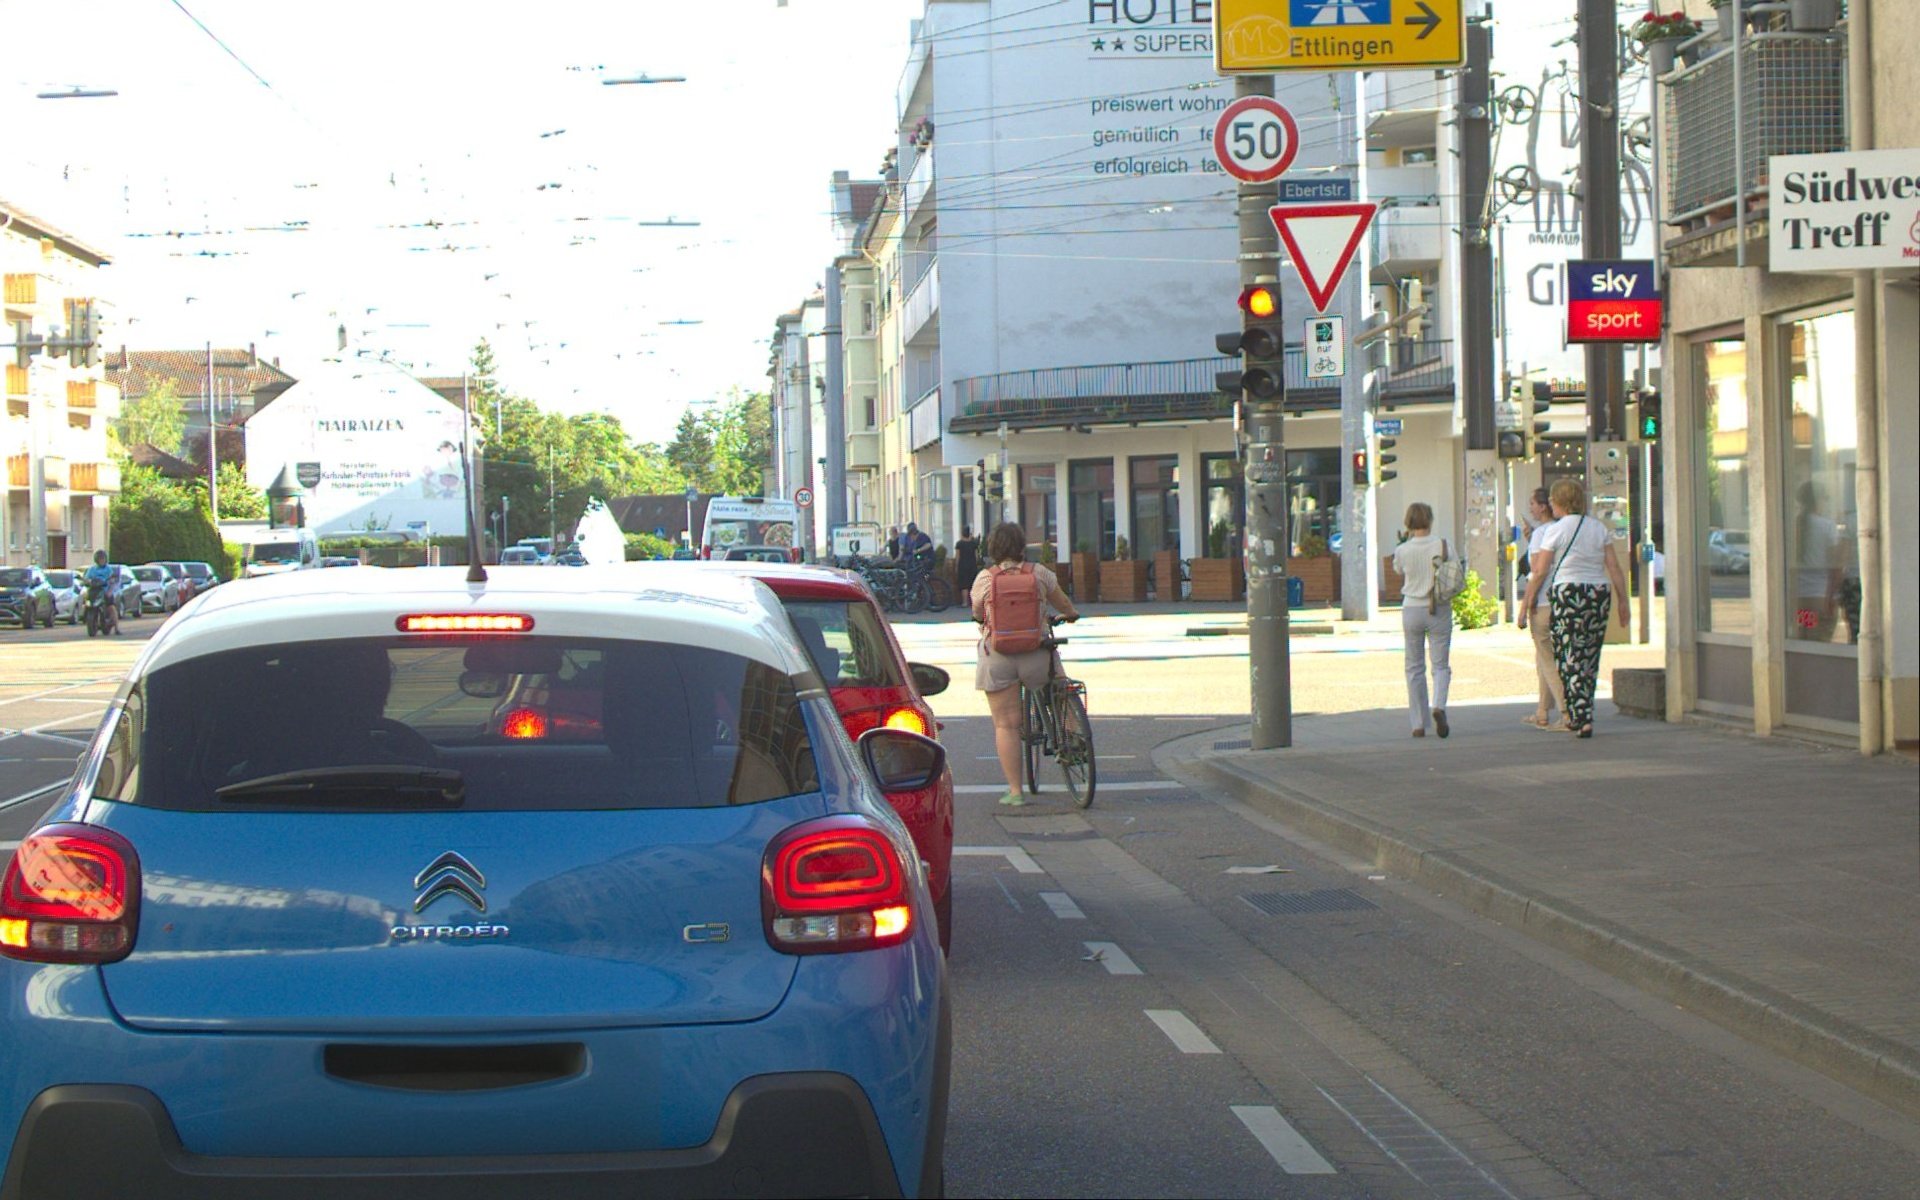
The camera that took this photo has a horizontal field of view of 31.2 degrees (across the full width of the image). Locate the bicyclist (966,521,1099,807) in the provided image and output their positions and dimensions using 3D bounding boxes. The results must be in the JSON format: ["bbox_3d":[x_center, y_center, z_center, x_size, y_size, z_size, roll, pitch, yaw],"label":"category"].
[{"bbox_3d":[0.418,0.363,20.289,0.726,1.640,0.790,-1,1,-1],"label":"bicyclist"}]

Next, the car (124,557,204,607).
[{"bbox_3d":[-25.693,-0.595,111.076,1.910,1.492,4.001,-1,1,-5],"label":"car"}]

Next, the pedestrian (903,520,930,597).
[{"bbox_3d":[-0.888,-0.845,69.723,0.491,1.550,0.384,-1,1,-3],"label":"pedestrian"}]

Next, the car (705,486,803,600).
[{"bbox_3d":[-4.358,-1.192,72.431,1.993,2.317,4.001,0,1,-4],"label":"car"}]

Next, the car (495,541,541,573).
[{"bbox_3d":[-21.752,-2.117,169.402,2.021,1.520,4.001,-1,1,-4],"label":"car"}]

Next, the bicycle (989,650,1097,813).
[{"bbox_3d":[0.483,0.766,20.598,0.498,0.861,1.749,-1,1,-3],"label":"bicycle"}]

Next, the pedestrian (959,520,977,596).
[{"bbox_3d":[0.169,-0.857,70.143,0.284,1.550,0.305,-1,1,-9],"label":"pedestrian"}]

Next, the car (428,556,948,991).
[{"bbox_3d":[-0.942,0.562,13.645,1.738,1.415,4.000,-1,1,-1],"label":"car"}]

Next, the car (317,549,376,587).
[{"bbox_3d":[-25.760,-1.351,144.492,2.021,1.520,4.001,-1,1,-4],"label":"car"}]

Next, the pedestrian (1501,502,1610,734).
[{"bbox_3d":[4.002,0.113,23.138,0.541,1.502,0.611,-3,3,-2],"label":"pedestrian"}]

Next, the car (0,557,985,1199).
[{"bbox_3d":[-1.055,0.647,7.422,1.743,1.457,4.001,0,1,-7],"label":"car"}]

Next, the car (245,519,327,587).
[{"bbox_3d":[-23.371,-1.642,119.305,2.206,2.243,4.678,-1,1,-4],"label":"car"}]

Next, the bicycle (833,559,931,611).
[{"bbox_3d":[-1.517,-0.300,67.053,1.874,0.953,0.702,-1,1,1],"label":"bicycle"}]

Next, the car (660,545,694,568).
[{"bbox_3d":[-16.492,-2.546,200.061,1.754,1.255,3.833,-1,1,-7],"label":"car"}]

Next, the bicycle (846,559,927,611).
[{"bbox_3d":[-1.414,-0.285,65.993,1.504,0.953,0.702,-1,1,1],"label":"bicycle"}]

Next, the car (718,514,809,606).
[{"bbox_3d":[-3.867,-0.786,67.521,1.732,1.744,3.214,0,1,-4],"label":"car"}]

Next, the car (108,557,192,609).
[{"bbox_3d":[-24.969,-0.536,106.077,1.910,1.492,4.001,-1,1,-5],"label":"car"}]

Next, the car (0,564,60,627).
[{"bbox_3d":[-23.868,-0.123,85.965,1.910,1.492,4.001,-1,1,-5],"label":"car"}]

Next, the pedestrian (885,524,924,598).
[{"bbox_3d":[-1.164,-0.821,72.470,0.646,1.550,0.493,-2,1,-22],"label":"pedestrian"}]

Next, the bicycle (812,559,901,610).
[{"bbox_3d":[-2.057,-0.312,68.412,1.720,0.953,0.702,-1,1,1],"label":"bicycle"}]

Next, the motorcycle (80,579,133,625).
[{"bbox_3d":[-16.690,0.032,67.284,0.615,0.861,1.671,-1,1,0],"label":"motorcycle"}]

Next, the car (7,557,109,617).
[{"bbox_3d":[-24.134,-0.371,92.101,1.910,1.492,4.001,-1,1,-5],"label":"car"}]

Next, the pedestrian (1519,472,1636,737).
[{"bbox_3d":[4.001,0.022,22.308,0.541,1.666,0.650,-3,1,-2],"label":"pedestrian"}]

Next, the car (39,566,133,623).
[{"bbox_3d":[-24.792,-0.175,97.677,1.910,1.492,4.001,-1,1,-5],"label":"car"}]

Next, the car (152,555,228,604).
[{"bbox_3d":[-26.000,-0.711,116.168,1.870,1.568,4.001,-1,1,-4],"label":"car"}]

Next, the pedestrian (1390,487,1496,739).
[{"bbox_3d":[3.301,0.078,23.533,0.541,1.666,0.624,-3,3,-2],"label":"pedestrian"}]

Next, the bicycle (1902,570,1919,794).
[{"bbox_3d":[4.898,0.404,15.764,0.530,1.068,1.811,-1,1,-4],"label":"bicycle"}]

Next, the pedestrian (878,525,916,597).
[{"bbox_3d":[-1.367,-0.843,74.274,0.646,1.550,0.493,-2,1,-22],"label":"pedestrian"}]

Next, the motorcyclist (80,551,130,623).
[{"bbox_3d":[-16.684,-0.252,67.124,0.719,1.373,0.911,-1,1,0],"label":"motorcyclist"}]

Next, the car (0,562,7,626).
[{"bbox_3d":[-23.342,-0.097,79.182,1.910,1.492,4.001,-1,1,-5],"label":"car"}]

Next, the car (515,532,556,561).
[{"bbox_3d":[-23.144,-2.943,187.433,2.021,1.520,4.001,-1,1,-4],"label":"car"}]

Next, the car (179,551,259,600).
[{"bbox_3d":[-26.193,-0.875,121.593,2.030,1.614,4.511,-1,1,-3],"label":"car"}]
